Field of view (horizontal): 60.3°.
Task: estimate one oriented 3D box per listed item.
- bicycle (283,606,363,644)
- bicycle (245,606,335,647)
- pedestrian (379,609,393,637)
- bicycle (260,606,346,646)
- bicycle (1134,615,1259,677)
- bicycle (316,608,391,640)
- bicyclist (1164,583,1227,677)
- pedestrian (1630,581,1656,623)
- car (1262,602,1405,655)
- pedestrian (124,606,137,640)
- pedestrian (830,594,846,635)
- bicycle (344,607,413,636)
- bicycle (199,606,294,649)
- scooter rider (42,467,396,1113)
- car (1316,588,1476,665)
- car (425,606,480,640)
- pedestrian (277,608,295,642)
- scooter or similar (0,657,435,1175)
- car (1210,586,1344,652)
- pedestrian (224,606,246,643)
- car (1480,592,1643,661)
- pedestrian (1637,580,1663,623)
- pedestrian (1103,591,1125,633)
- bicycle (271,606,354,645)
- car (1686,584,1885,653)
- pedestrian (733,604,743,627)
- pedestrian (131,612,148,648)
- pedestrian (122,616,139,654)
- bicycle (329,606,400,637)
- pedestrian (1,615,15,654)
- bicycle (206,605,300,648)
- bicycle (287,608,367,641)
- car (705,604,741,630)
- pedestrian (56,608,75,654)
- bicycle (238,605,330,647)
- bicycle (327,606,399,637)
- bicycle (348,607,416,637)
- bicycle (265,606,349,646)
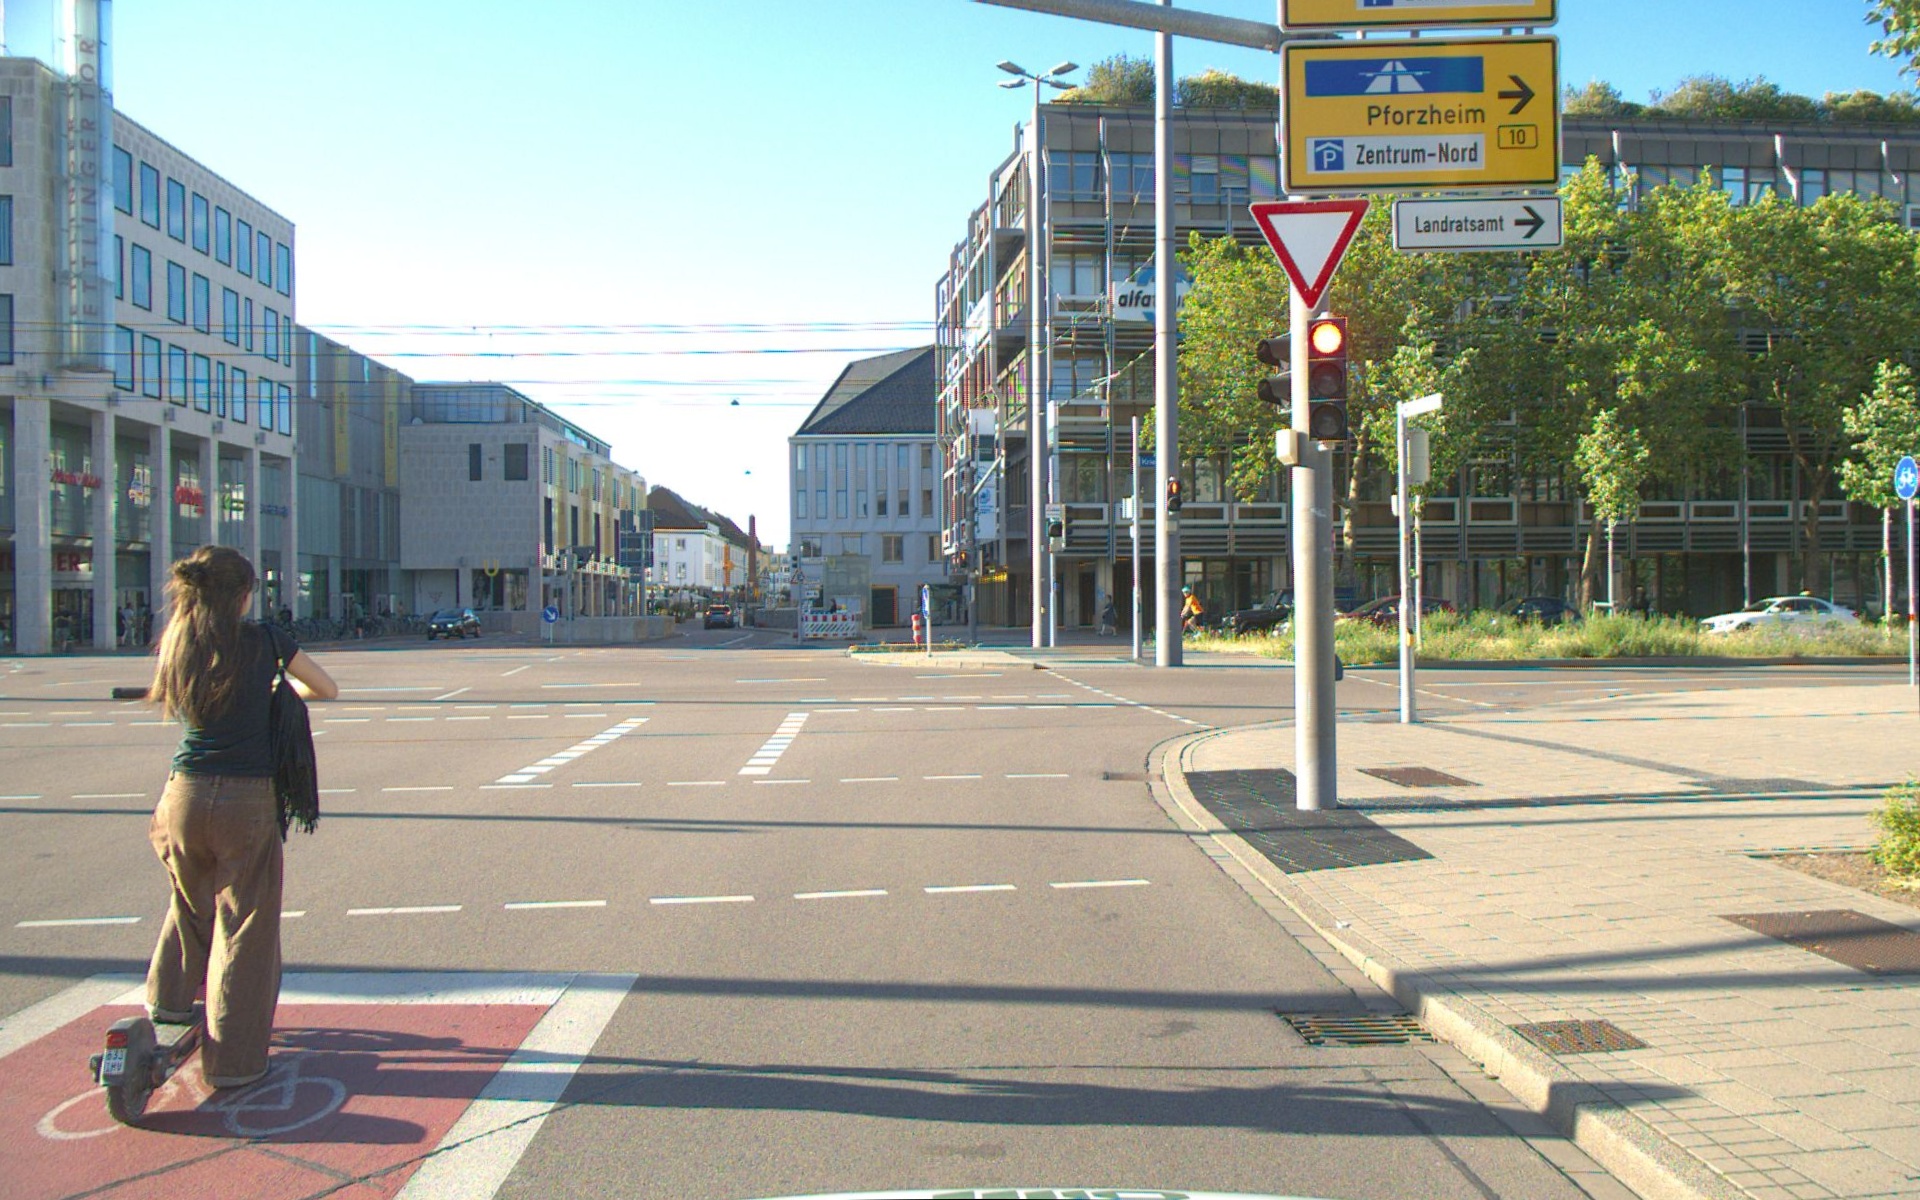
[{"bbox_3d":[-30.336,1.191,78.859,3.430,1.726,0.984,-1,0,-12],"label":"bicycle"},{"bbox_3d":[-29.097,1.126,71.917,3.427,1.726,1.114,-1,0,-10],"label":"bicycle"},{"bbox_3d":[-33.913,1.347,97.723,0.687,1.671,0.690,-1,0,-23],"label":"pedestrian"},{"bbox_3d":[-29.573,1.171,74.486,3.430,1.726,0.984,-1,0,-12],"label":"bicycle"},{"bbox_3d":[6.749,1.304,47.215,3.427,1.688,0.929,-1,0,-10],"label":"bicycle"},{"bbox_3d":[-30.883,1.216,84.258,3.430,1.554,0.984,-1,0,-12],"label":"bicycle"},{"bbox_3d":[6.719,0.835,47.216,1.539,2.625,0.930,-1,0,-10],"label":"bicyclist"},{"bbox_3d":[27.589,0.070,66.809,0.651,1.687,0.740,-1,0,-8],"label":"pedestrian"},{"bbox_3d":[11.441,0.867,50.808,3.908,1.534,1.867,1,0,-4],"label":"car"},{"bbox_3d":[-35.965,0.974,71.726,0.379,1.464,0.367,-1,0,-6],"label":"pedestrian"},{"bbox_3d":[-5.075,0.617,68.958,0.650,1.687,0.755,-1,0,-4],"label":"pedestrian"},{"bbox_3d":[-31.783,1.172,90.392,3.430,1.554,0.984,-1,0,-12],"label":"bicycle"},{"bbox_3d":[-29.321,1.115,68.025,3.427,1.726,1.114,-1,0,-10],"label":"bicycle"},{"bbox_3d":[-2.213,0.530,5.038,0.713,1.806,0.811,0,0,-1],"label":"scooter rider"},{"bbox_3d":[12.232,0.736,46.571,3.908,2.049,1.999,1,0,-3],"label":"car"},{"bbox_3d":[-24.257,1.069,79.158,1.956,1.512,3.992,-1,0,-9],"label":"car"},{"bbox_3d":[-33.340,1.233,81.814,0.641,1.671,0.693,-1,0,-9],"label":"pedestrian"},{"bbox_3d":[-2.182,0.815,4.946,0.713,1.223,1.664,0,0,-1],"label":"scooter or similar"},{"bbox_3d":[10.306,0.601,53.912,3.908,2.049,1.999,1,0,-3],"label":"car"},{"bbox_3d":[-33.104,1.118,75.546,0.771,1.671,0.692,-1,0,-14],"label":"pedestrian"},{"bbox_3d":[18.828,0.824,51.872,4.359,2.049,1.998,1,0,-6],"label":"car"},{"bbox_3d":[27.523,0.065,65.957,0.651,1.687,0.740,-1,0,-8],"label":"pedestrian"},{"bbox_3d":[6.141,0.476,66.035,0.715,1.687,0.649,-1,0,-8],"label":"pedestrian"},{"bbox_3d":[-30.038,1.182,76.773,3.430,1.726,0.984,-1,0,-12],"label":"bicycle"},{"bbox_3d":[26.173,0.582,52.568,5.332,2.049,2.096,1,0,-3],"label":"car"},{"bbox_3d":[-14.373,1.008,107.224,0.598,1.436,0.569,-1,0,-7],"label":"pedestrian"},{"bbox_3d":[-34.839,1.263,70.194,0.472,1.537,0.513,-1,0,-5],"label":"pedestrian"},{"bbox_3d":[-34.858,1.466,69.500,0.472,1.613,0.513,-1,0,-5],"label":"pedestrian"},{"bbox_3d":[-31.388,1.112,87.236,3.430,1.554,0.984,-1,0,-12],"label":"bicycle"},{"bbox_3d":[-35.046,1.273,60.900,0.384,1.437,0.431,0,0,-40],"label":"pedestrian"},{"bbox_3d":[-29.549,1.090,69.195,3.427,1.726,1.114,-1,0,-10],"label":"bicycle"},{"bbox_3d":[-30.541,1.174,79.848,3.430,1.554,0.984,-1,0,-12],"label":"bicycle"},{"bbox_3d":[-15.496,1.103,108.155,2.157,1.635,4.320,-1,0,-6],"label":"car"},{"bbox_3d":[-32.392,1.116,59.894,0.535,1.671,0.544,-1,0,-33],"label":"pedestrian"},{"bbox_3d":[-28.867,1.090,70.705,3.427,1.726,1.114,-1,0,-10],"label":"bicycle"},{"bbox_3d":[-31.071,1.124,86.119,3.430,1.554,0.984,-1,0,-12],"label":"bicycle"},{"bbox_3d":[-31.946,1.202,91.417,3.430,1.554,0.984,-1,0,-12],"label":"bicycle"},{"bbox_3d":[-29.797,1.181,75.574,3.430,1.726,0.984,-1,0,-12],"label":"bicycle"}]
